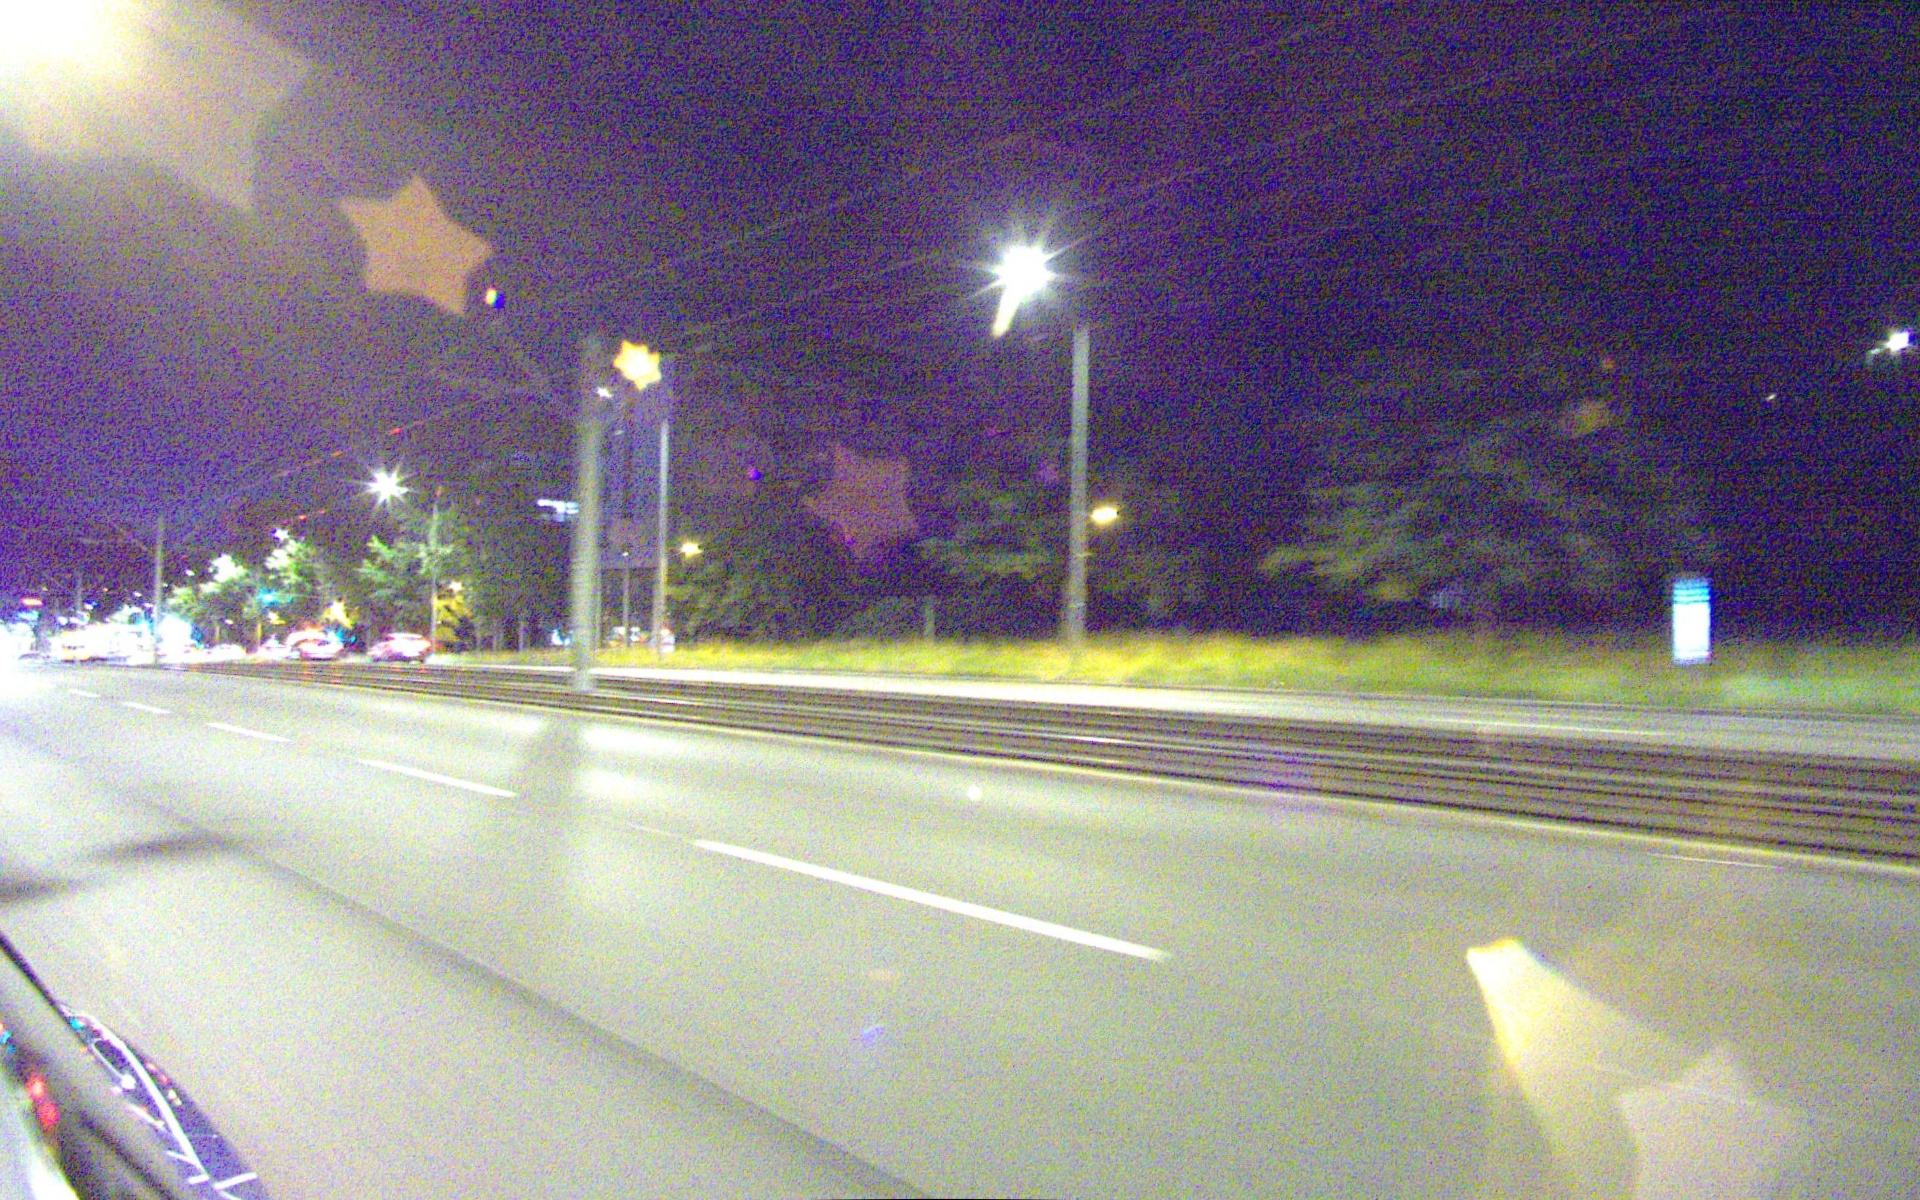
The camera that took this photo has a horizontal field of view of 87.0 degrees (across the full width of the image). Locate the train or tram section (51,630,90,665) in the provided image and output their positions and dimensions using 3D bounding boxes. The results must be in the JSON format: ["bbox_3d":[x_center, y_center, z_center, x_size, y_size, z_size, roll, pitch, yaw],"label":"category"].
[{"bbox_3d":[-107.443,5.785,122.134,2.726,3.856,18.684,1,-3,-44],"label":"train or tram section"}]

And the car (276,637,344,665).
[{"bbox_3d":[-35.321,2.750,54.955,4.955,1.439,1.846,-2,-2,42],"label":"car"}]

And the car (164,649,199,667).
[{"bbox_3d":[-70.874,5.298,92.159,4.173,1.508,1.766,-1,-1,42],"label":"car"}]

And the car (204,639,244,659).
[{"bbox_3d":[-54.079,3.607,74.333,4.338,1.451,1.602,-3,-4,44],"label":"car"}]

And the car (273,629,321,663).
[{"bbox_3d":[-55.951,3.887,85.356,2.120,2.691,6.969,5,-5,-43],"label":"car"}]

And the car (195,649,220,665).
[{"bbox_3d":[-76.519,5.809,102.894,1.640,1.528,3.914,1,-2,-44],"label":"car"}]

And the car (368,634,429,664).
[{"bbox_3d":[-30.134,2.651,54.260,1.839,1.526,4.619,3,-4,-42],"label":"car"}]

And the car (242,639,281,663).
[{"bbox_3d":[-54.082,3.922,78.361,4.229,1.726,1.759,-3,-2,45],"label":"car"}]
